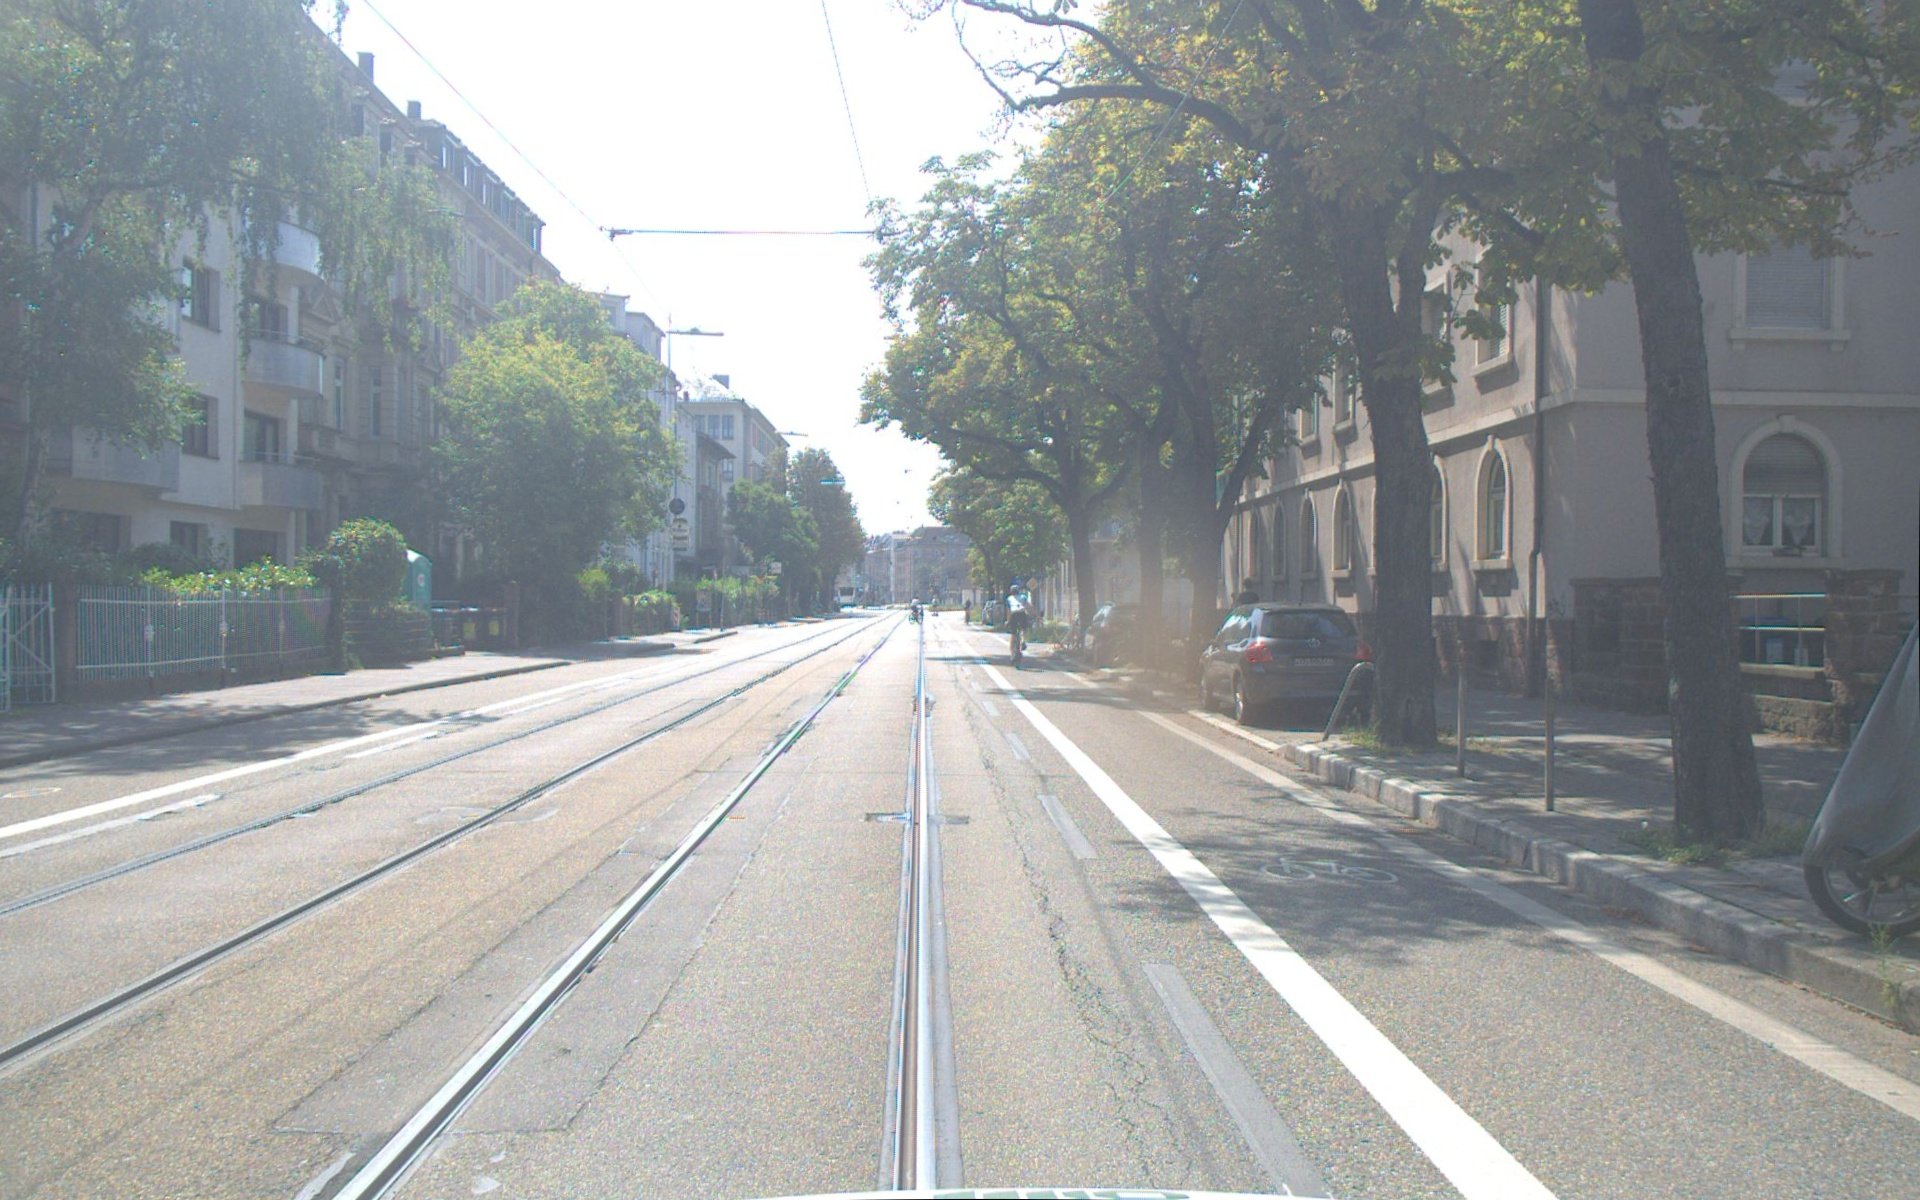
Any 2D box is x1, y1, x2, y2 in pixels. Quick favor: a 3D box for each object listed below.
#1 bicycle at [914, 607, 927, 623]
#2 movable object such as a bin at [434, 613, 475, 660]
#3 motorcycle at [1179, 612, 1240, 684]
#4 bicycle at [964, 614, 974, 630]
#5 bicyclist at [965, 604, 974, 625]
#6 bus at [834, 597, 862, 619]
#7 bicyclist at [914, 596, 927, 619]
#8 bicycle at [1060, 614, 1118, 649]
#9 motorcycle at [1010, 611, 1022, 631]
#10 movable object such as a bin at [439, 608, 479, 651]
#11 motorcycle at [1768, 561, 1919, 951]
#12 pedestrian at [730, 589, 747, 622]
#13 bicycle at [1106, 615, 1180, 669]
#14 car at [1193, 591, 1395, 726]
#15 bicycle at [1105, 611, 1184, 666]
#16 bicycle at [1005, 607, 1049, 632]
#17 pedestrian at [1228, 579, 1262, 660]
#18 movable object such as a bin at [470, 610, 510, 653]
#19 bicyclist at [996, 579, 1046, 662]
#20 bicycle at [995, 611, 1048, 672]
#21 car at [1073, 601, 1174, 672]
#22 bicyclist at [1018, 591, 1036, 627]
[{"bbox_3d":[-2.446,0.920,103.139,0.743,1.008,2.298,0,0,1],"label":"bicycle"},{"bbox_3d":[-12.176,0.873,39.843,0.771,1.094,0.754,1,0,-3],"label":"movable object such as a bin"},{"bbox_3d":[4.605,0.866,30.688,0.696,1.277,2.175,1,0,-3],"label":"motorcycle"},{"bbox_3d":[0.574,1.352,103.086,0.576,0.955,2.172,0,0,1],"label":"bicycle"},{"bbox_3d":[0.570,0.923,103.014,0.567,1.301,0.471,0,-1,1],"label":"bicyclist"},{"bbox_3d":[-17.356,1.240,257.096,3.660,3.423,15.113,0,0,-2],"label":"bus"},{"bbox_3d":[-2.459,0.469,102.963,0.743,1.416,0.779,0,-1,1],"label":"bicyclist"},{"bbox_3d":[3.889,0.945,49.900,1.678,1.050,0.566,0,0,-1],"label":"bicycle"},{"bbox_3d":[3.124,1.155,92.025,0.537,1.086,2.330,0,0,-1],"label":"motorcycle"},{"bbox_3d":[-13.110,0.777,43.314,0.770,1.094,0.803,1,0,1],"label":"movable object such as a bin"},{"bbox_3d":[4.637,0.607,6.638,2.303,1.567,0.964,-3,-2,40],"label":"motorcycle"},{"bbox_3d":[-12.199,0.288,91.107,0.764,1.787,1.040,0,-1,-1],"label":"pedestrian"},{"bbox_3d":[3.922,0.897,35.499,1.572,1.123,0.399,0,0,5],"label":"bicycle"},{"bbox_3d":[4.407,0.705,22.450,1.803,1.559,4.114,0,2,-2],"label":"car"},{"bbox_3d":[3.999,0.827,35.889,1.686,1.169,0.377,0,0,5],"label":"bicycle"},{"bbox_3d":[3.152,0.917,77.789,1.992,1.171,0.786,0,0,5],"label":"bicycle"},{"bbox_3d":[6.843,0.474,39.712,0.692,1.925,0.714,0,-1,0],"label":"pedestrian"},{"bbox_3d":[-12.314,0.820,43.385,0.770,1.094,0.803,1,0,1],"label":"movable object such as a bin"},{"bbox_3d":[1.375,0.470,37.609,1.102,1.869,0.955,0,-1,-1],"label":"bicyclist"},{"bbox_3d":[1.374,0.921,37.643,1.124,1.291,2.712,0,0,0],"label":"bicycle"},{"bbox_3d":[3.854,0.816,39.787,1.803,1.559,4.778,-1,0,-2],"label":"car"},{"bbox_3d":[3.147,0.410,77.784,0.806,1.671,0.786,0,0,4],"label":"bicyclist"}]
